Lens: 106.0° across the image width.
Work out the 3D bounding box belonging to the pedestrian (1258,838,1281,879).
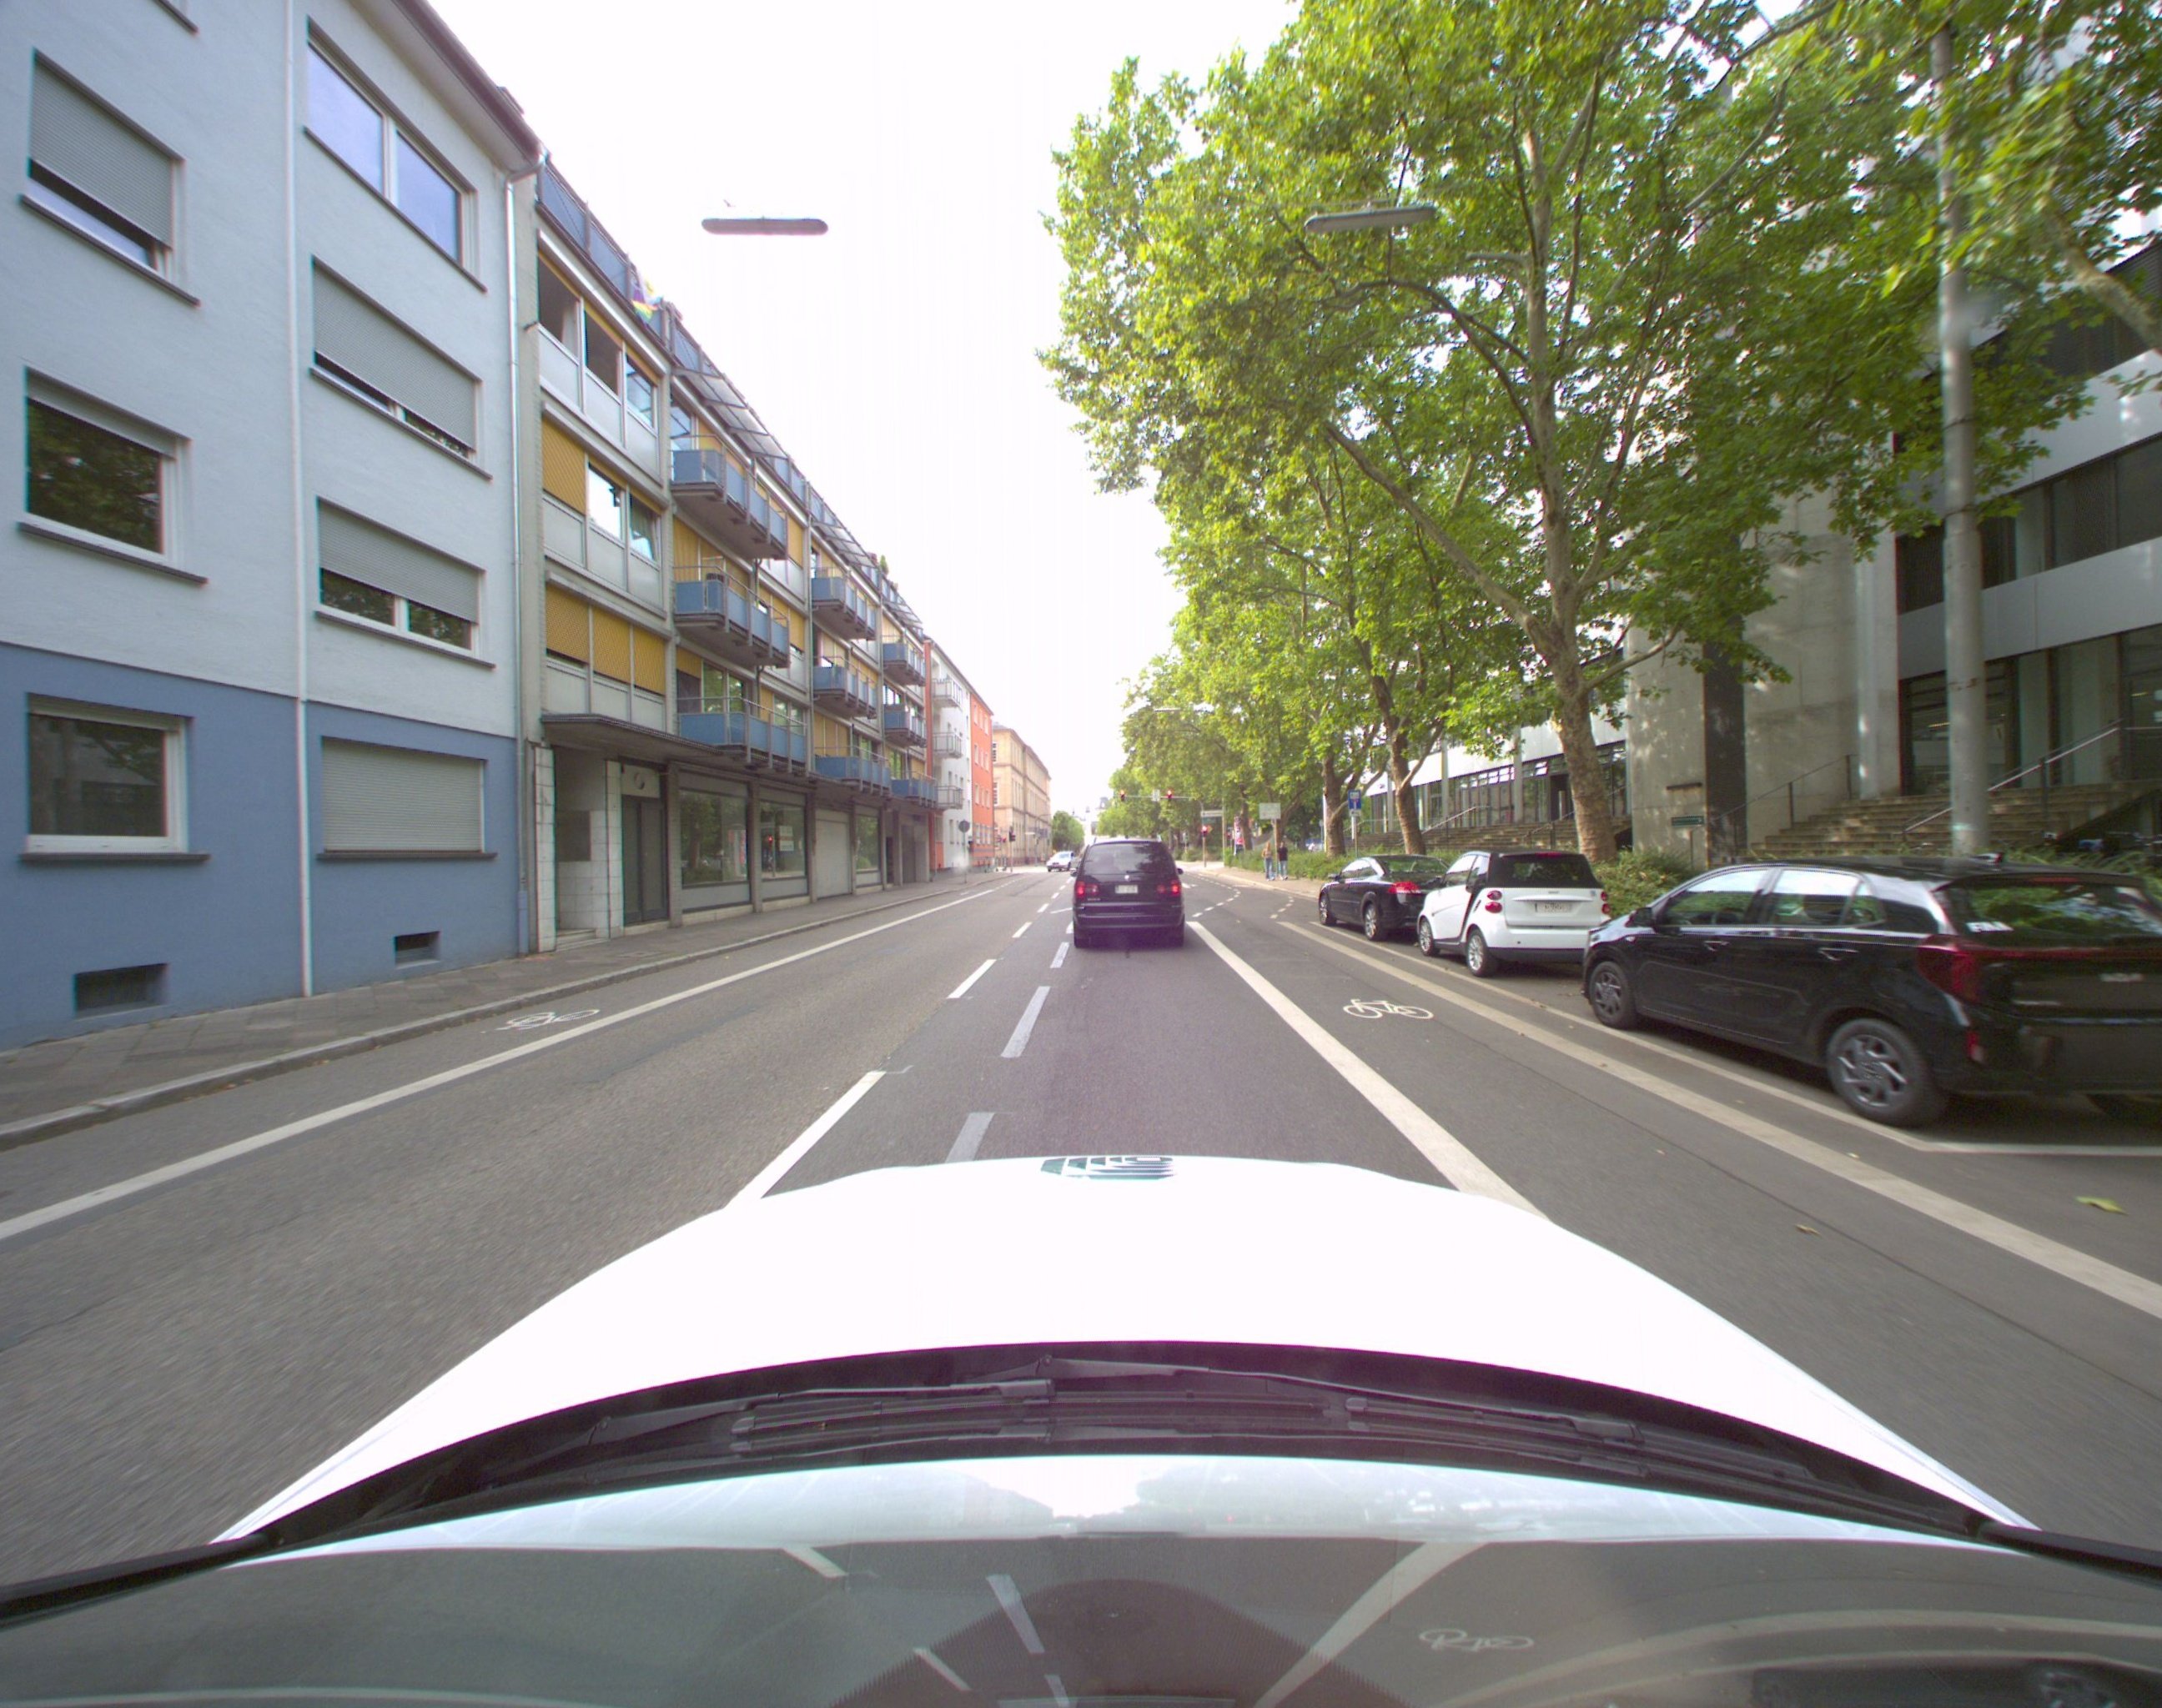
[{"bbox_3d":[8.299,0.201,35.952,0.708,1.783,1.034,-3,-1,1],"label":"pedestrian"}]

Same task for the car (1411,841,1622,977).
[{"bbox_3d":[5.500,0.625,10.607,1.528,1.543,2.602,0,0,5],"label":"car"}]

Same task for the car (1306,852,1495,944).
[{"bbox_3d":[5.572,0.672,14.850,1.692,1.425,4.421,0,0,0],"label":"car"}]

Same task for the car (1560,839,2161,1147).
[{"bbox_3d":[5.185,0.672,5.812,1.522,1.502,3.662,0,0,2],"label":"car"}]

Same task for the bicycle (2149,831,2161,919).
[{"bbox_3d":[14.731,0.230,10.144,1.908,1.117,0.673,-2,0,1],"label":"bicycle"}]

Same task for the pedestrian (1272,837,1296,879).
[{"bbox_3d":[8.929,0.174,35.891,0.712,1.800,1.034,-3,-1,1],"label":"pedestrian"}]

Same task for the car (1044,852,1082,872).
[{"bbox_3d":[-1.364,0.592,62.503,1.744,1.427,4.116,-3,0,15],"label":"car"}]

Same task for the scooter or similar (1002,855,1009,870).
[{"bbox_3d":[-6.026,0.681,65.027,0.377,1.144,1.141,-1,-1,-1],"label":"scooter or similar"}]

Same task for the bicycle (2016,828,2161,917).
[{"bbox_3d":[14.315,0.237,11.197,2.071,1.117,0.673,-2,0,1],"label":"bicycle"}]

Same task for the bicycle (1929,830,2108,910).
[{"bbox_3d":[14.392,0.241,12.532,1.908,1.117,0.673,-2,0,1],"label":"bicycle"}]

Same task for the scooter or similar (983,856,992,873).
[{"bbox_3d":[-6.703,0.742,58.373,0.376,1.184,1.390,-1,-1,2],"label":"scooter or similar"}]

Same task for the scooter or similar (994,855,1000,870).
[{"bbox_3d":[-6.640,0.705,64.595,0.377,1.147,1.141,-1,-1,-1],"label":"scooter or similar"}]

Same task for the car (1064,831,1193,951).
[{"bbox_3d":[0.757,0.537,14.328,1.867,1.745,4.575,-1,0,1],"label":"car"}]
